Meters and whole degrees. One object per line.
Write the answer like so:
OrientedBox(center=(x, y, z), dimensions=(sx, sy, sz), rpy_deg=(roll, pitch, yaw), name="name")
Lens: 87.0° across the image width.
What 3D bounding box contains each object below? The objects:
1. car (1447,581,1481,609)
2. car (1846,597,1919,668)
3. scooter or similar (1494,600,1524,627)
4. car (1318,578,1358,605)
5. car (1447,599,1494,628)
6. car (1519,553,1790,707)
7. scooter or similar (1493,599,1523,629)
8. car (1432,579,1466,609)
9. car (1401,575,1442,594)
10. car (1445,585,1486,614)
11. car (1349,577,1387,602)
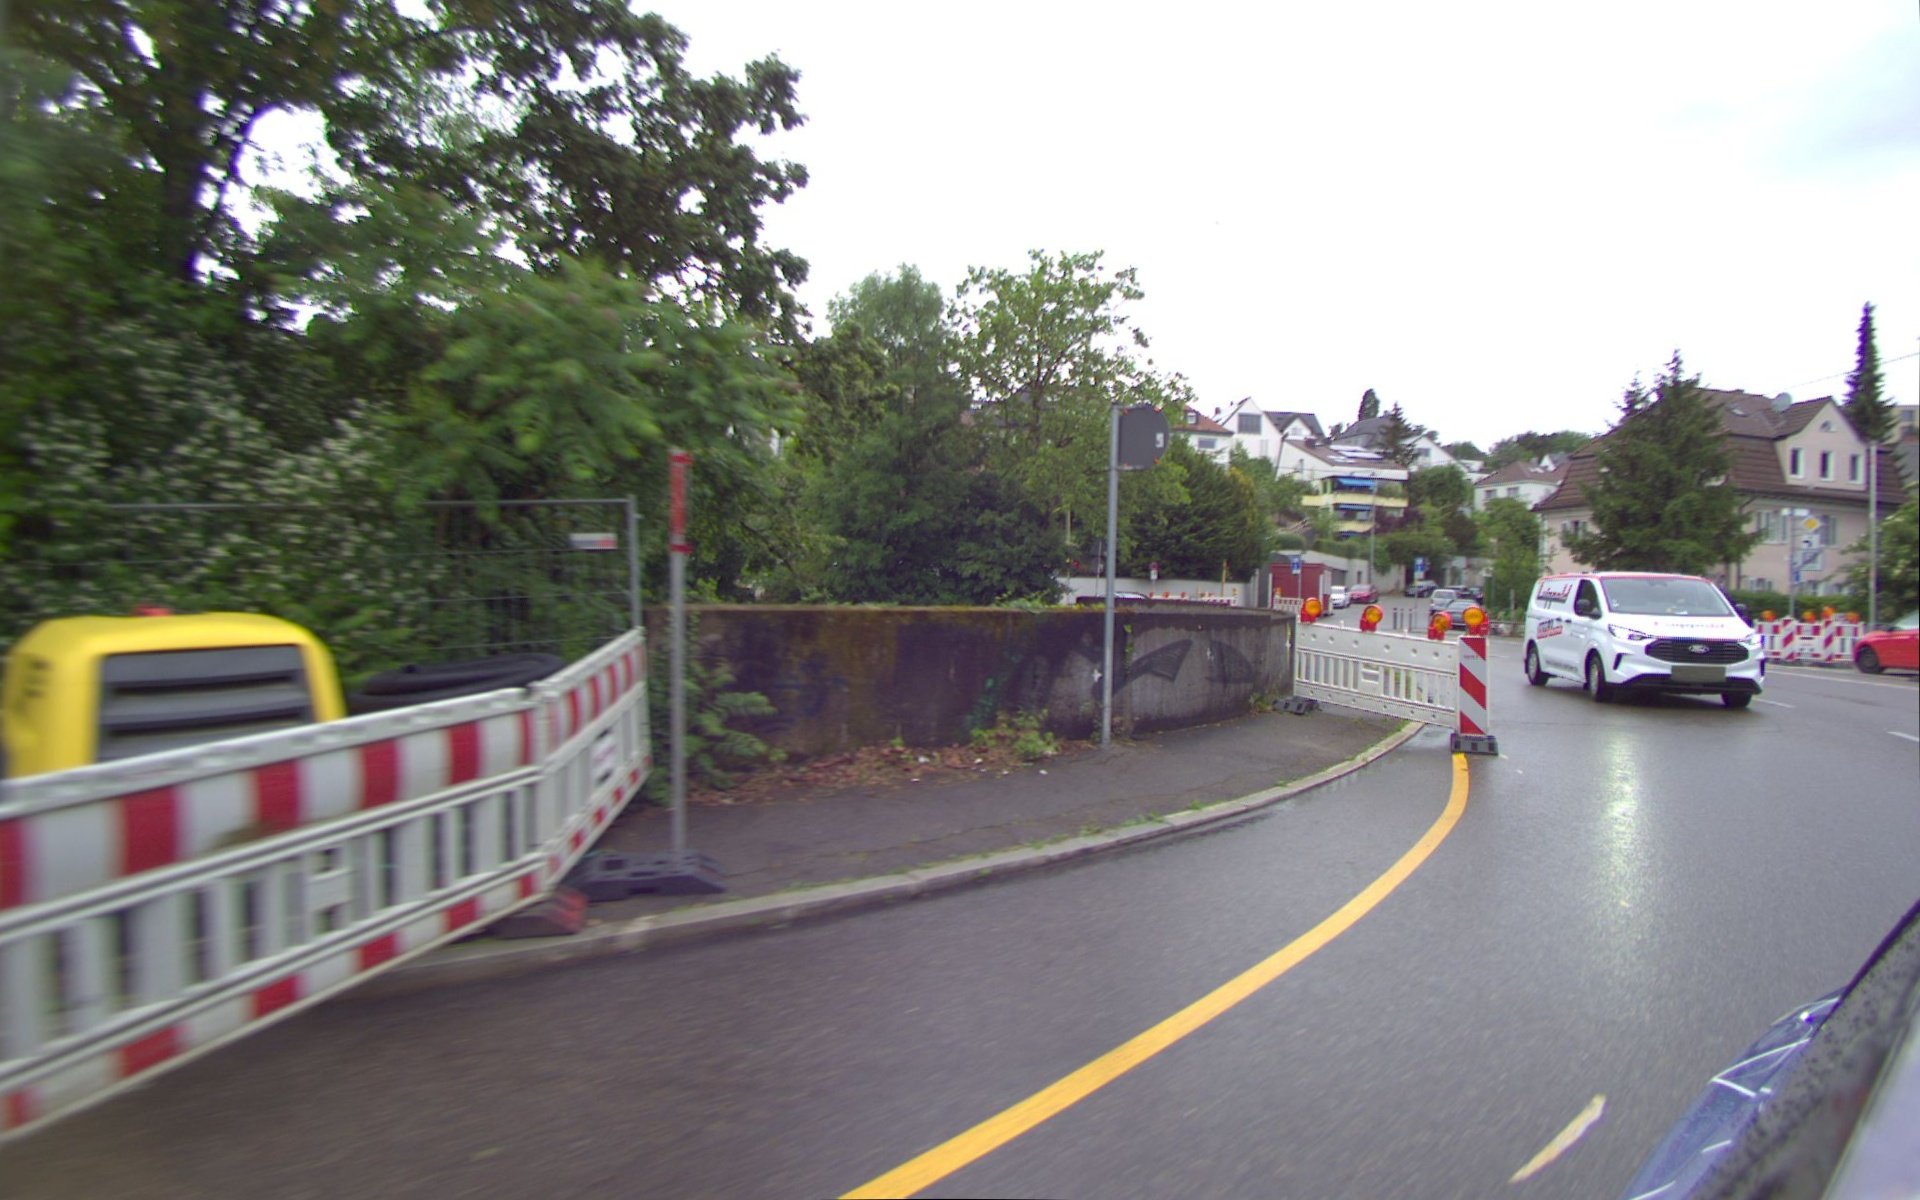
OrientedBox(center=(36.747, -0.379, 73.814), dimensions=(1.980, 1.726, 3.968), rpy_deg=(4, 4, 25), name="car")
OrientedBox(center=(20.538, 0.728, 20.684), dimensions=(1.664, 1.415, 4.125), rpy_deg=(3, 2, 10), name="car")
OrientedBox(center=(22.699, 0.560, 41.856), dimensions=(1.018, 1.082, 0.243), rpy_deg=(2, 1, 2), name="scooter or similar")
OrientedBox(center=(26.638, -0.637, 71.274), dimensions=(1.984, 1.681, 3.960), rpy_deg=(4, 5, 29), name="car")
OrientedBox(center=(25.383, 0.652, 50.248), dimensions=(1.663, 1.282, 4.156), rpy_deg=(4, 2, 32), name="car")
OrientedBox(center=(10.698, 0.361, 16.100), dimensions=(1.971, 2.039, 4.926), rpy_deg=(0, 1, 15), name="car")
OrientedBox(center=(22.283, 0.558, 41.172), dimensions=(1.017, 1.178, 0.243), rpy_deg=(2, 1, 0), name="scooter or similar")
OrientedBox(center=(31.964, -0.421, 66.201), dimensions=(1.856, 1.681, 3.966), rpy_deg=(4, 4, 25), name="car")
OrientedBox(center=(40.023, -1.374, 87.781), dimensions=(3.934, 1.512, 1.877), rpy_deg=(-2, 1, -43), name="car")
OrientedBox(center=(27.707, -0.072, 55.568), dimensions=(1.656, 1.419, 4.173), rpy_deg=(3, 2, 22), name="car")
OrientedBox(center=(31.361, -0.776, 77.740), dimensions=(1.862, 1.682, 3.952), rpy_deg=(4, 1, 33), name="car")
